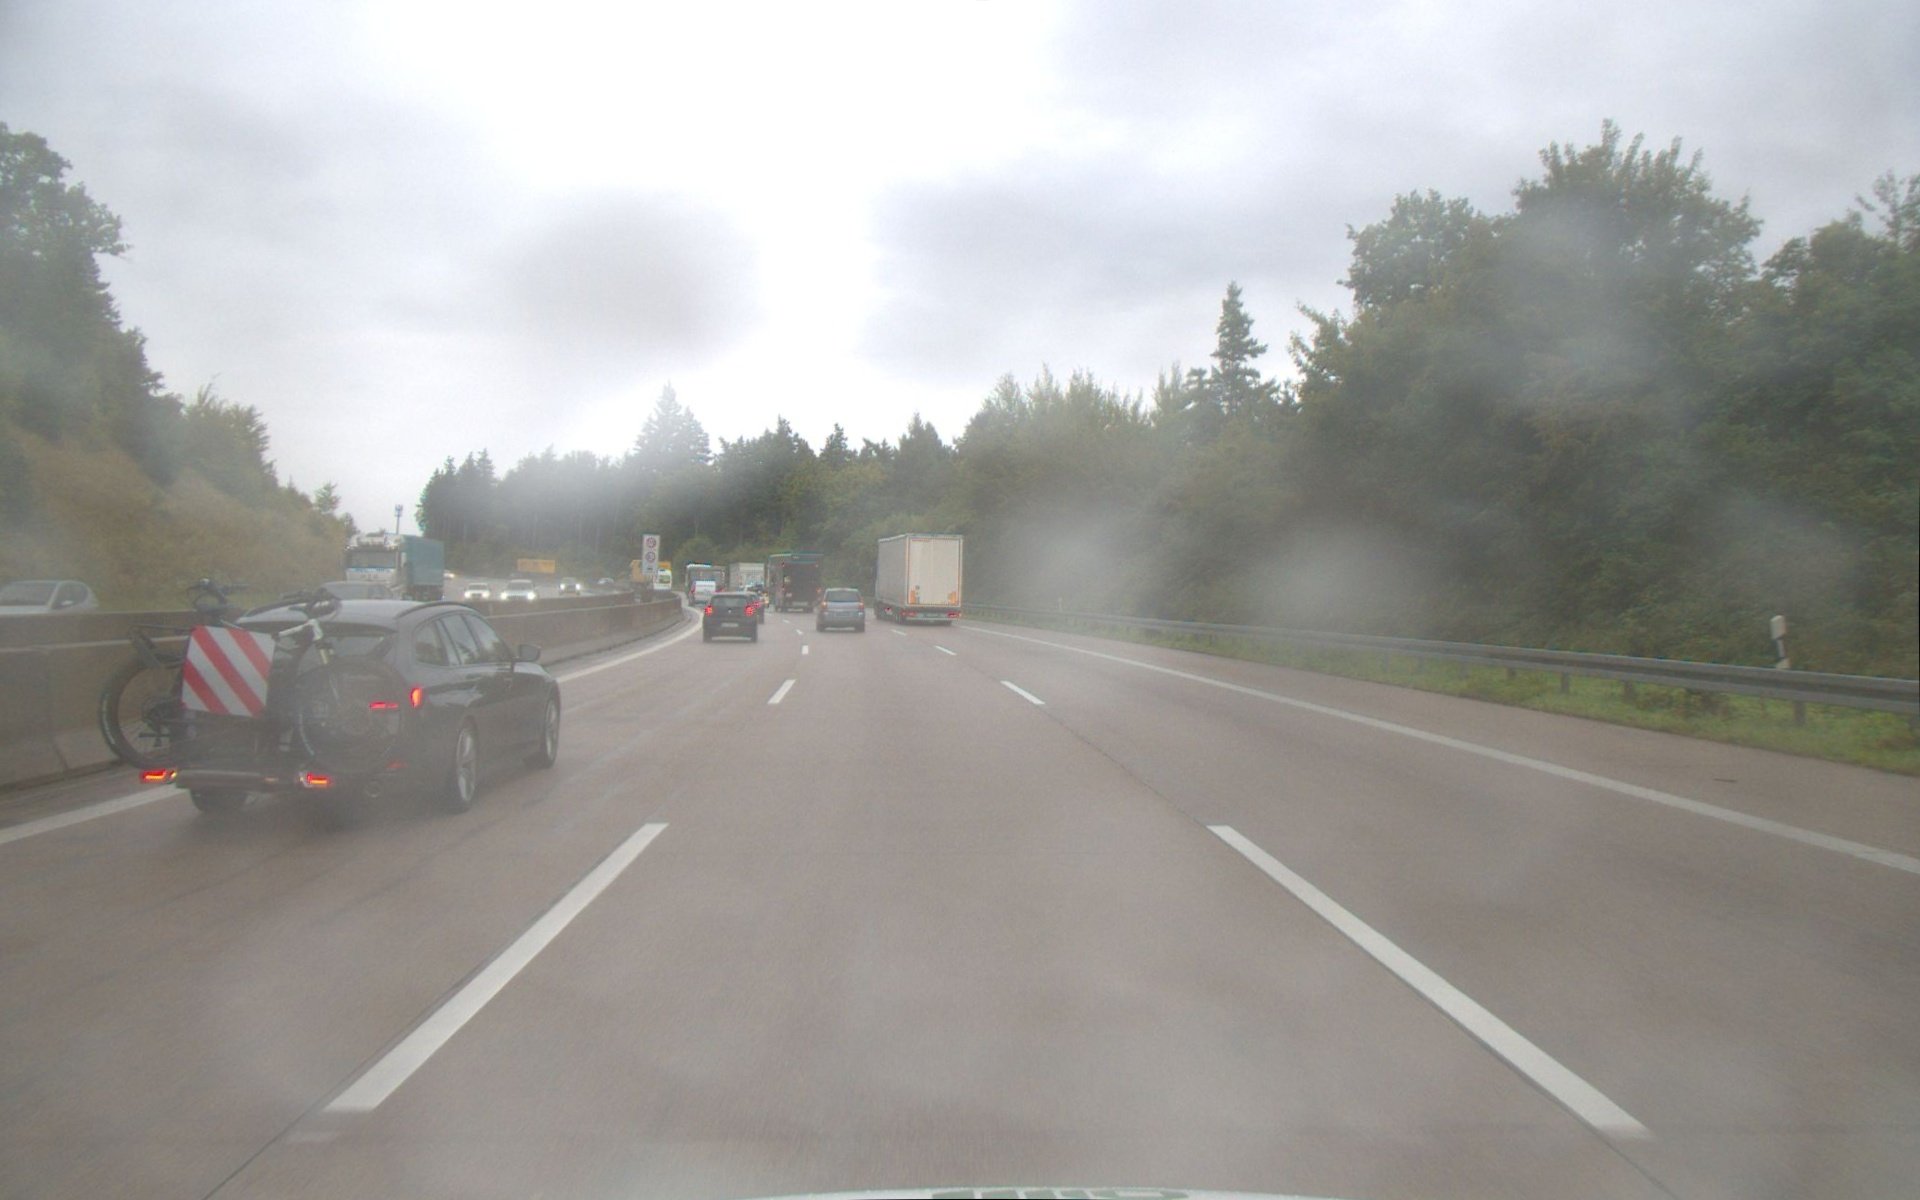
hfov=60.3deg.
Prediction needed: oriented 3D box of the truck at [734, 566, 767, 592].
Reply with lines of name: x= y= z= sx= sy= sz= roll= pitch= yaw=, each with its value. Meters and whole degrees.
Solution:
truck: x=-20.977 y=-2.097 z=165.467 sx=2.920 sy=2.349 sz=6.652 roll=3 pitch=0 yaw=-10

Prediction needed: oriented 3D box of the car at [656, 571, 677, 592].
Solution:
car: x=-29.534 y=-1.840 z=166.404 sx=1.958 sy=2.095 sz=3.988 roll=0 pitch=0 yaw=-12

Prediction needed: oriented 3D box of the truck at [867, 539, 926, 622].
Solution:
truck: x=-3.314 y=-0.997 z=85.650 sx=2.375 sy=4.139 sz=4.967 roll=1 pitch=1 yaw=-9

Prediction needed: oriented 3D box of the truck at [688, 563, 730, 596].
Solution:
truck: x=-24.449 y=-2.017 z=160.767 sx=3.032 sy=2.956 sz=7.871 roll=1 pitch=1 yaw=-15

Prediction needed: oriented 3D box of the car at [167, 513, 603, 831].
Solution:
car: x=-4.262 y=0.436 z=13.460 sx=1.870 sy=1.979 sz=6.156 roll=0 pitch=0 yaw=-5

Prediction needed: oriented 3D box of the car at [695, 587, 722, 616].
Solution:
car: x=-18.445 y=0.099 z=121.449 sx=1.692 sy=2.049 sz=3.653 roll=0 pitch=0 yaw=-5

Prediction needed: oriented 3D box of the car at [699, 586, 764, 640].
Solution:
car: x=-6.816 y=0.354 z=49.664 sx=1.651 sy=1.487 sz=3.680 roll=3 pitch=0 yaw=-4

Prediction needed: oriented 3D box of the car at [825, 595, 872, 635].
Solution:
car: x=-4.167 y=0.556 z=62.193 sx=1.522 sy=1.375 sz=3.683 roll=3 pitch=0 yaw=-1

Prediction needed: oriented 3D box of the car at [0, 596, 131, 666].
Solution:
car: x=-21.079 y=0.680 z=38.469 sx=1.696 sy=1.519 sz=3.998 roll=0 pitch=0 yaw=-2

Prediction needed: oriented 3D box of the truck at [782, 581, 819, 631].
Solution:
truck: x=-10.242 y=0.324 z=105.955 sx=2.225 sy=2.937 sz=7.894 roll=1 pitch=1 yaw=-6

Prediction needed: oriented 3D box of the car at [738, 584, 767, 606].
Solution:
car: x=-15.189 y=-0.358 z=121.168 sx=1.844 sy=1.498 sz=3.997 roll=3 pitch=0 yaw=-4

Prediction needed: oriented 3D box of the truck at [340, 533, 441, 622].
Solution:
truck: x=-26.701 y=-1.022 z=77.891 sx=2.851 sy=3.957 sz=7.355 roll=1 pitch=0 yaw=-6

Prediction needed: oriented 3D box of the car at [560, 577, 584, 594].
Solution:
car: x=-36.855 y=-1.334 z=157.023 sx=1.682 sy=1.607 sz=3.996 roll=0 pitch=0 yaw=-5

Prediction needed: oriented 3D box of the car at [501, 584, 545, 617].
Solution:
car: x=-24.541 y=0.017 z=93.041 sx=1.697 sy=1.807 sz=4.752 roll=0 pitch=0 yaw=-6

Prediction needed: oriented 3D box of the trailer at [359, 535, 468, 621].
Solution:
trailer: x=-27.158 y=-1.061 z=82.725 sx=2.851 sy=3.957 sz=11.021 roll=1 pitch=0 yaw=-6

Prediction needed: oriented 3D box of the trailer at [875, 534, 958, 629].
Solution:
trailer: x=-2.205 y=-0.890 z=78.636 sx=2.375 sy=4.139 sz=12.030 roll=1 pitch=1 yaw=-9

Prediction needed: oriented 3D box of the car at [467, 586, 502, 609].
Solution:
car: x=-33.726 y=-0.154 z=117.424 sx=1.697 sy=1.603 sz=4.238 roll=0 pitch=0 yaw=-6

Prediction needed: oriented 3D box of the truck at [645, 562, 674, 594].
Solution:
truck: x=-40.074 y=-2.903 z=220.613 sx=3.673 sy=4.283 sz=6.799 roll=0 pitch=0 yaw=-11

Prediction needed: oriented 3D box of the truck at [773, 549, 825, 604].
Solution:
truck: x=-13.134 y=-1.892 z=134.049 sx=3.308 sy=4.203 sz=10.411 roll=1 pitch=1 yaw=-11
